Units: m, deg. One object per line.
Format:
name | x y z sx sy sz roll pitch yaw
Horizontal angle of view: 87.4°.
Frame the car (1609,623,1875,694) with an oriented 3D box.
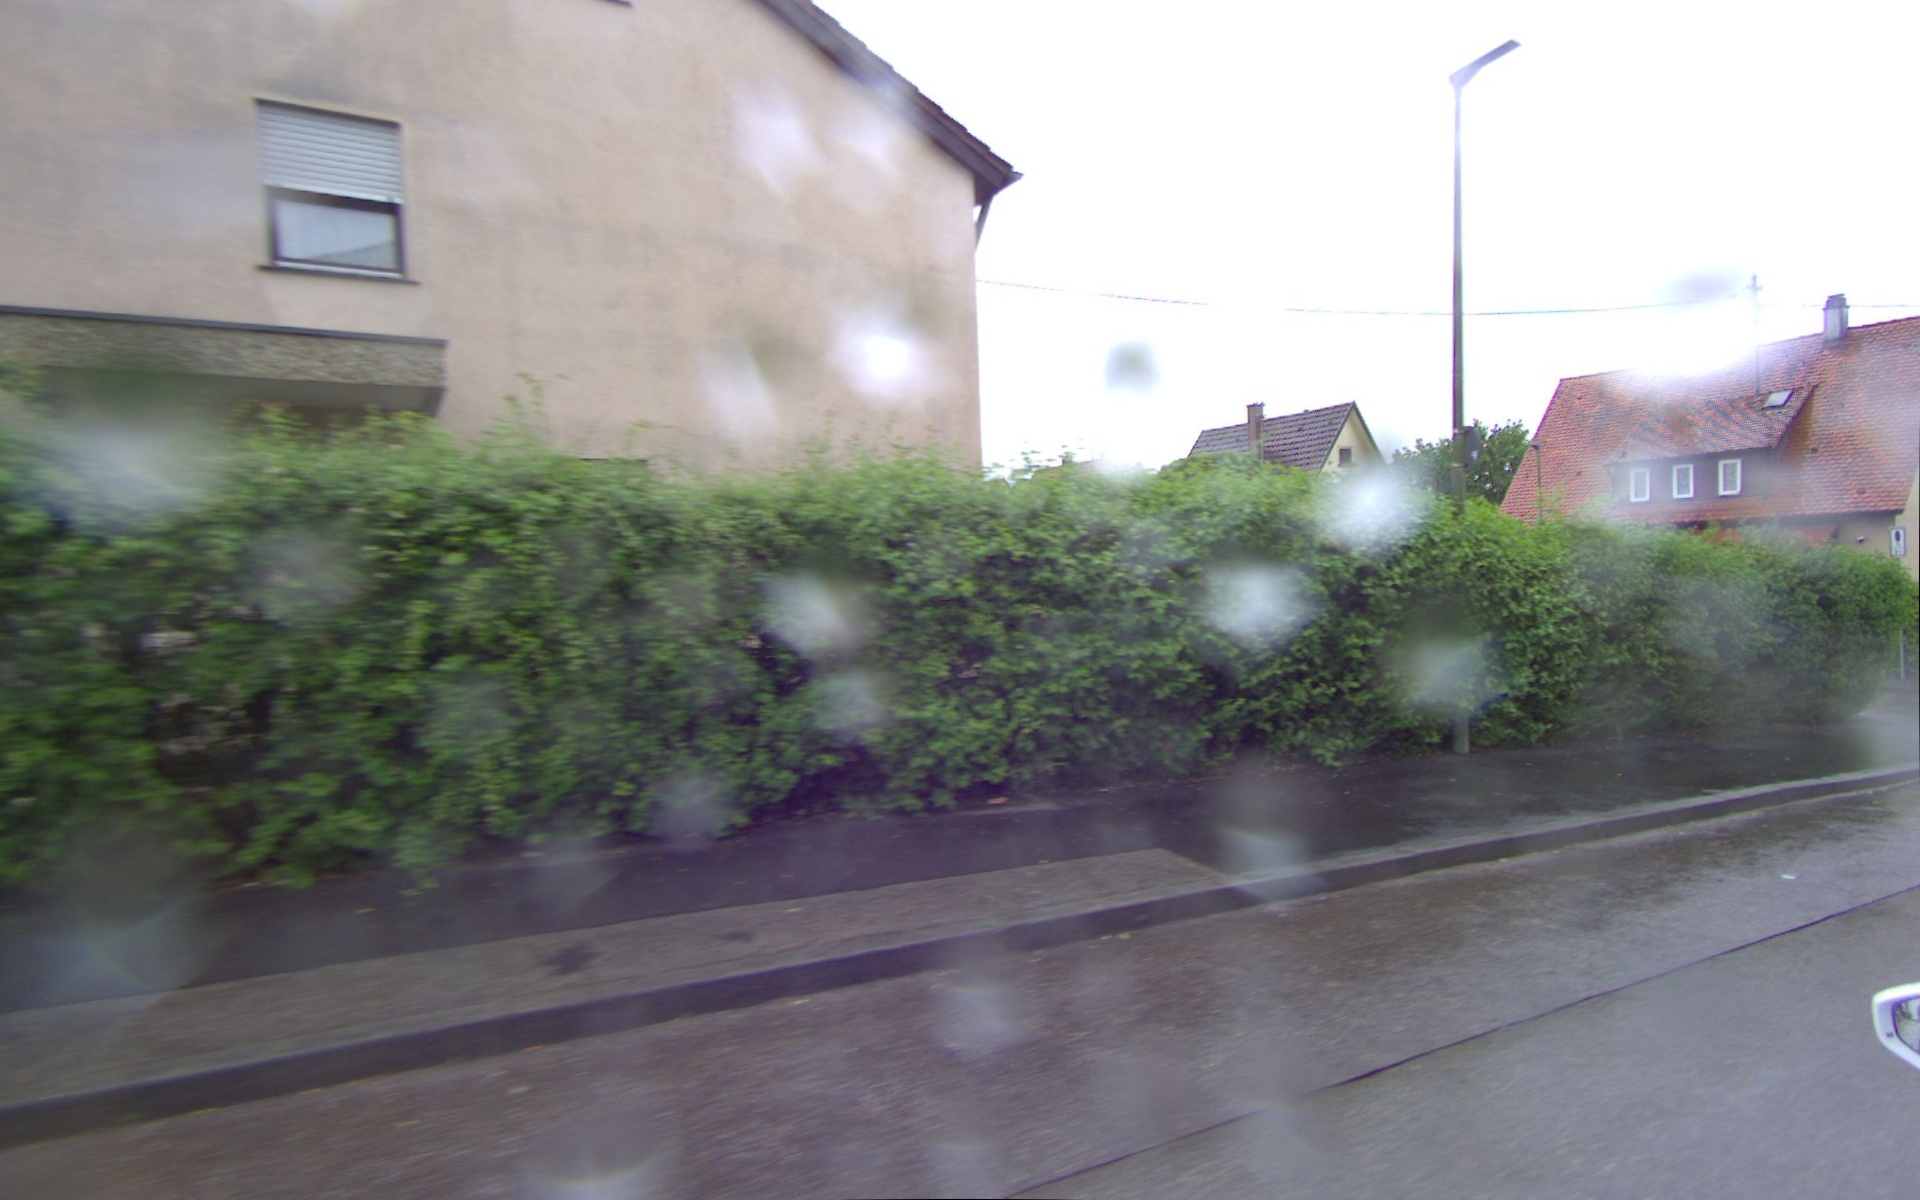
car | 18.040 1.270 23.421 1.871 1.417 4.561 0 -1 -29
